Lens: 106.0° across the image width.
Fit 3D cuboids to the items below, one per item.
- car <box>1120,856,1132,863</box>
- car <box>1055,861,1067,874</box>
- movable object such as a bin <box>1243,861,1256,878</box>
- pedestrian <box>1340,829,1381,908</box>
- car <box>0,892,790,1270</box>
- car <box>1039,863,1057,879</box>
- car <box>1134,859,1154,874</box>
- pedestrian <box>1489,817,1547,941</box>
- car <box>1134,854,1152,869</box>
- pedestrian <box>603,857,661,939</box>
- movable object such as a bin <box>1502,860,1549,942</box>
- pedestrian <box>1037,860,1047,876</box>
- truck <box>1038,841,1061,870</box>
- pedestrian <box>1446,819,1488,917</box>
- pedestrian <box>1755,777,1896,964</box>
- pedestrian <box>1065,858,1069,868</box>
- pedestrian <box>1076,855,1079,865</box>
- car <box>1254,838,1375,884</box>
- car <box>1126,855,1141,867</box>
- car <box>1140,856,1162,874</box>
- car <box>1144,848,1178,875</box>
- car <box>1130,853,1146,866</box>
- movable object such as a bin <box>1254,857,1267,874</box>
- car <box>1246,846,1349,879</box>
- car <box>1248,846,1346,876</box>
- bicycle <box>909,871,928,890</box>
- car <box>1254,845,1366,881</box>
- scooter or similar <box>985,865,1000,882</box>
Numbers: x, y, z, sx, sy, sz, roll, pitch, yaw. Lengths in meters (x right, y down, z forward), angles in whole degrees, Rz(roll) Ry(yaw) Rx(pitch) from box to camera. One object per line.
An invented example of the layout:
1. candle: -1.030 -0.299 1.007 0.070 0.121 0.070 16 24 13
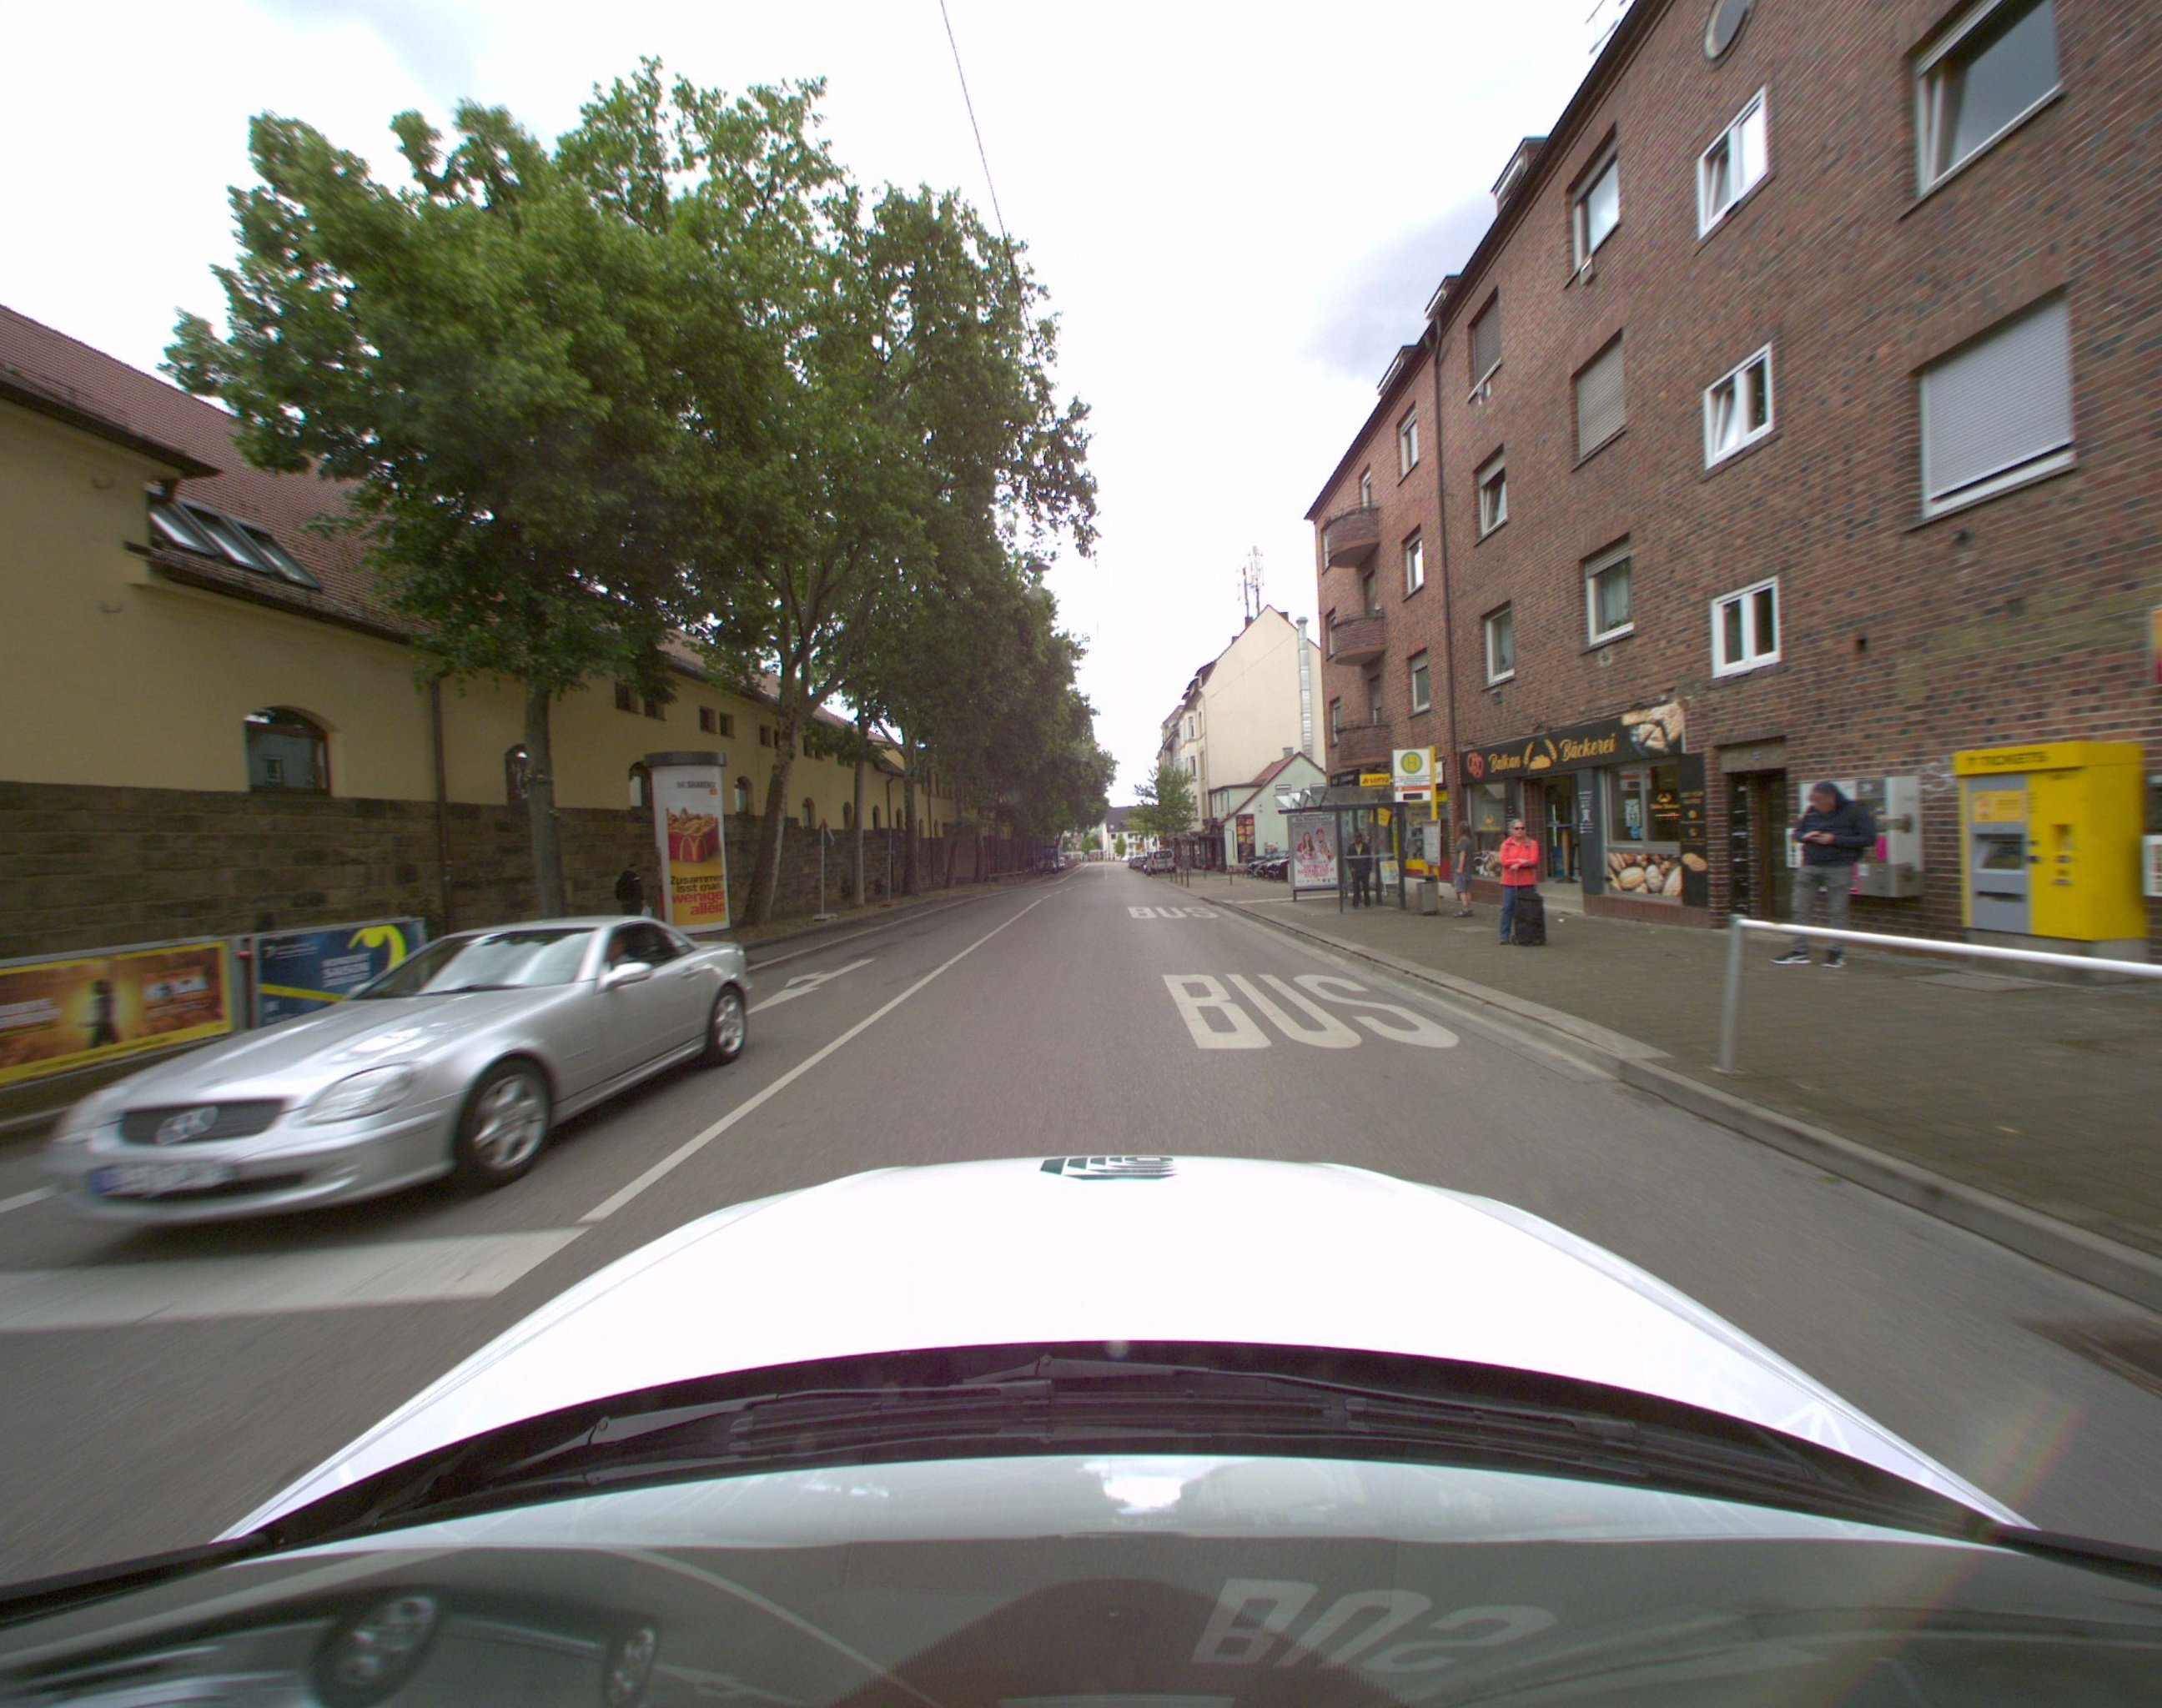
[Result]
1. car: 10.255 1.255 185.797 1.850 1.489 3.895 -2 0 15
2. car: -2.710 1.784 111.388 1.529 1.639 3.716 -2 0 -1
3. movable object such as a bin: 10.957 1.014 53.075 0.695 1.041 0.645 -2 0 3
4. pedestrian: 6.307 0.321 18.426 0.666 1.727 0.765 -2 -1 7
5. car: -3.640 1.023 5.335 1.678 1.275 4.098 -5 -1 3
6. car: -3.678 1.865 90.455 1.829 1.578 3.754 -2 0 -1
7. car: 6.674 1.304 86.854 1.664 1.547 3.754 -2 0 -1
8. pedestrian: 5.940 0.336 11.103 0.560 1.637 0.684 -2 -1 21
9. car: 7.095 0.834 93.426 1.664 1.547 3.754 -2 0 -1
10. pedestrian: -10.277 0.982 18.679 0.774 1.795 0.875 -2 -1 1
11. movable object such as a bin: 5.875 0.620 10.783 0.449 1.056 0.412 -3 -1 21
12. pedestrian: -3.841 1.359 79.662 0.677 1.536 0.604 -2 -1 -33
13. truck: -3.788 0.184 99.794 2.223 3.346 7.450 -2 0 1
14. pedestrian: 7.145 0.249 15.077 0.477 1.765 0.458 -2 -1 1
15. pedestrian: 7.351 0.159 8.082 0.644 1.750 0.779 -2 -1 7
16. pedestrian: -2.923 1.834 169.537 0.631 1.995 0.785 -2 -1 3
17. pedestrian: -0.705 1.220 163.077 0.631 2.013 0.785 -2 -1 3
18. car: 10.658 0.325 37.279 4.856 1.673 2.012 -5 -1 29
19. car: 7.540 1.026 117.099 1.664 1.547 3.754 -2 0 -1
20. car: 6.603 1.039 76.827 1.664 1.547 3.754 -2 0 -1
21. car: 6.166 0.595 63.504 1.988 1.936 4.916 -2 0 -1
22. car: 7.269 0.746 104.354 1.664 1.547 3.754 -2 0 -1
23. movable object such as a bin: 11.708 0.757 53.105 0.695 1.041 0.645 -2 0 3
24. car: 11.301 0.450 42.543 4.857 1.493 1.866 -2 0 26
25. car: 11.895 0.407 44.998 4.856 1.469 1.941 -2 0 28
26. bicycle: -9.859 1.609 49.379 0.594 1.091 2.196 0 0 3
27. car: 11.172 0.439 39.828 4.855 1.540 2.013 -2 0 30
28. scooter or similar: -6.588 1.467 60.647 1.028 1.184 0.490 -2 -1 -8
